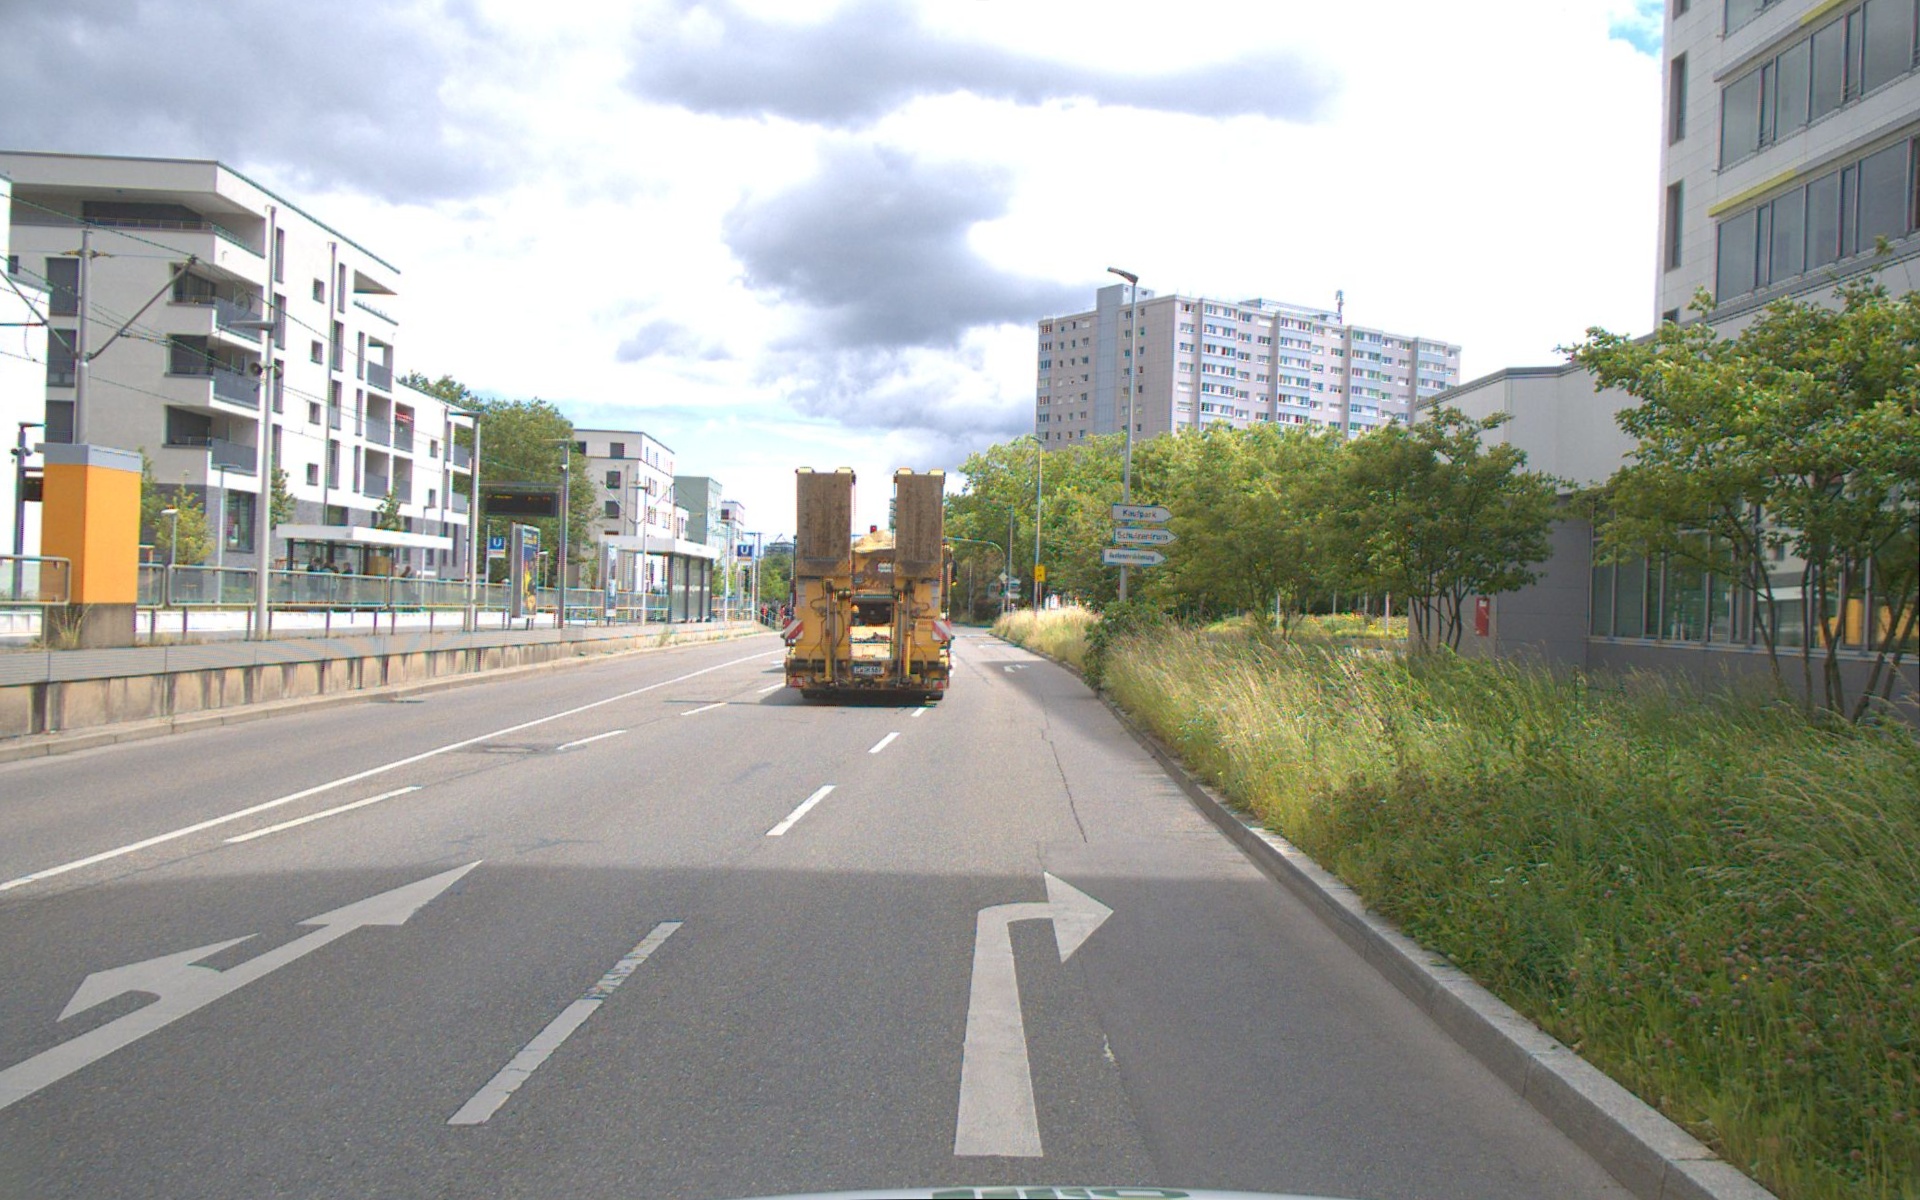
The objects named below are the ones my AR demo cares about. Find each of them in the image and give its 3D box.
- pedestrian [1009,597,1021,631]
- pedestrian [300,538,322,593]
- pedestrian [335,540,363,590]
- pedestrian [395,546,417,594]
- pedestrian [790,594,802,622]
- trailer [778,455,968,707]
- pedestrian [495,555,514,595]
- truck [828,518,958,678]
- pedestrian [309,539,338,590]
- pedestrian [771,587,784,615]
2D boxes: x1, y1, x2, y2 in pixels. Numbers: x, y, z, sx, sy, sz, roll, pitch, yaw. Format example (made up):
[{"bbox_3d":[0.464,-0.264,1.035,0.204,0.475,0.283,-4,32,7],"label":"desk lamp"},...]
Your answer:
[{"bbox_3d":[3.366,0.848,101.158,0.551,2.049,0.490,2,-1,-10],"label":"pedestrian"},{"bbox_3d":[-21.094,-1.119,53.772,0.483,1.755,0.669,2,0,-35],"label":"pedestrian"},{"bbox_3d":[-19.989,-1.145,54.085,0.479,1.624,0.675,2,0,33],"label":"pedestrian"},{"bbox_3d":[-21.063,-1.126,62.907,0.550,1.796,0.678,2,0,1],"label":"pedestrian"},{"bbox_3d":[-10.136,0.509,102.301,0.667,1.699,0.823,2,0,-2],"label":"pedestrian"},{"bbox_3d":[-1.365,-0.320,29.926,2.674,3.621,11.251,2,0,-1],"label":"trailer"},{"bbox_3d":[-21.248,-1.163,77.153,0.662,1.796,0.933,2,0,-4],"label":"pedestrian"},{"bbox_3d":[-1.522,-0.073,39.739,2.697,3.371,8.350,2,0,-1],"label":"truck"},{"bbox_3d":[-20.445,-1.141,53.136,0.480,1.624,0.673,2,0,42],"label":"pedestrian"},{"bbox_3d":[-10.776,0.034,97.609,0.667,1.630,0.823,2,0,-2],"label":"pedestrian"}]
